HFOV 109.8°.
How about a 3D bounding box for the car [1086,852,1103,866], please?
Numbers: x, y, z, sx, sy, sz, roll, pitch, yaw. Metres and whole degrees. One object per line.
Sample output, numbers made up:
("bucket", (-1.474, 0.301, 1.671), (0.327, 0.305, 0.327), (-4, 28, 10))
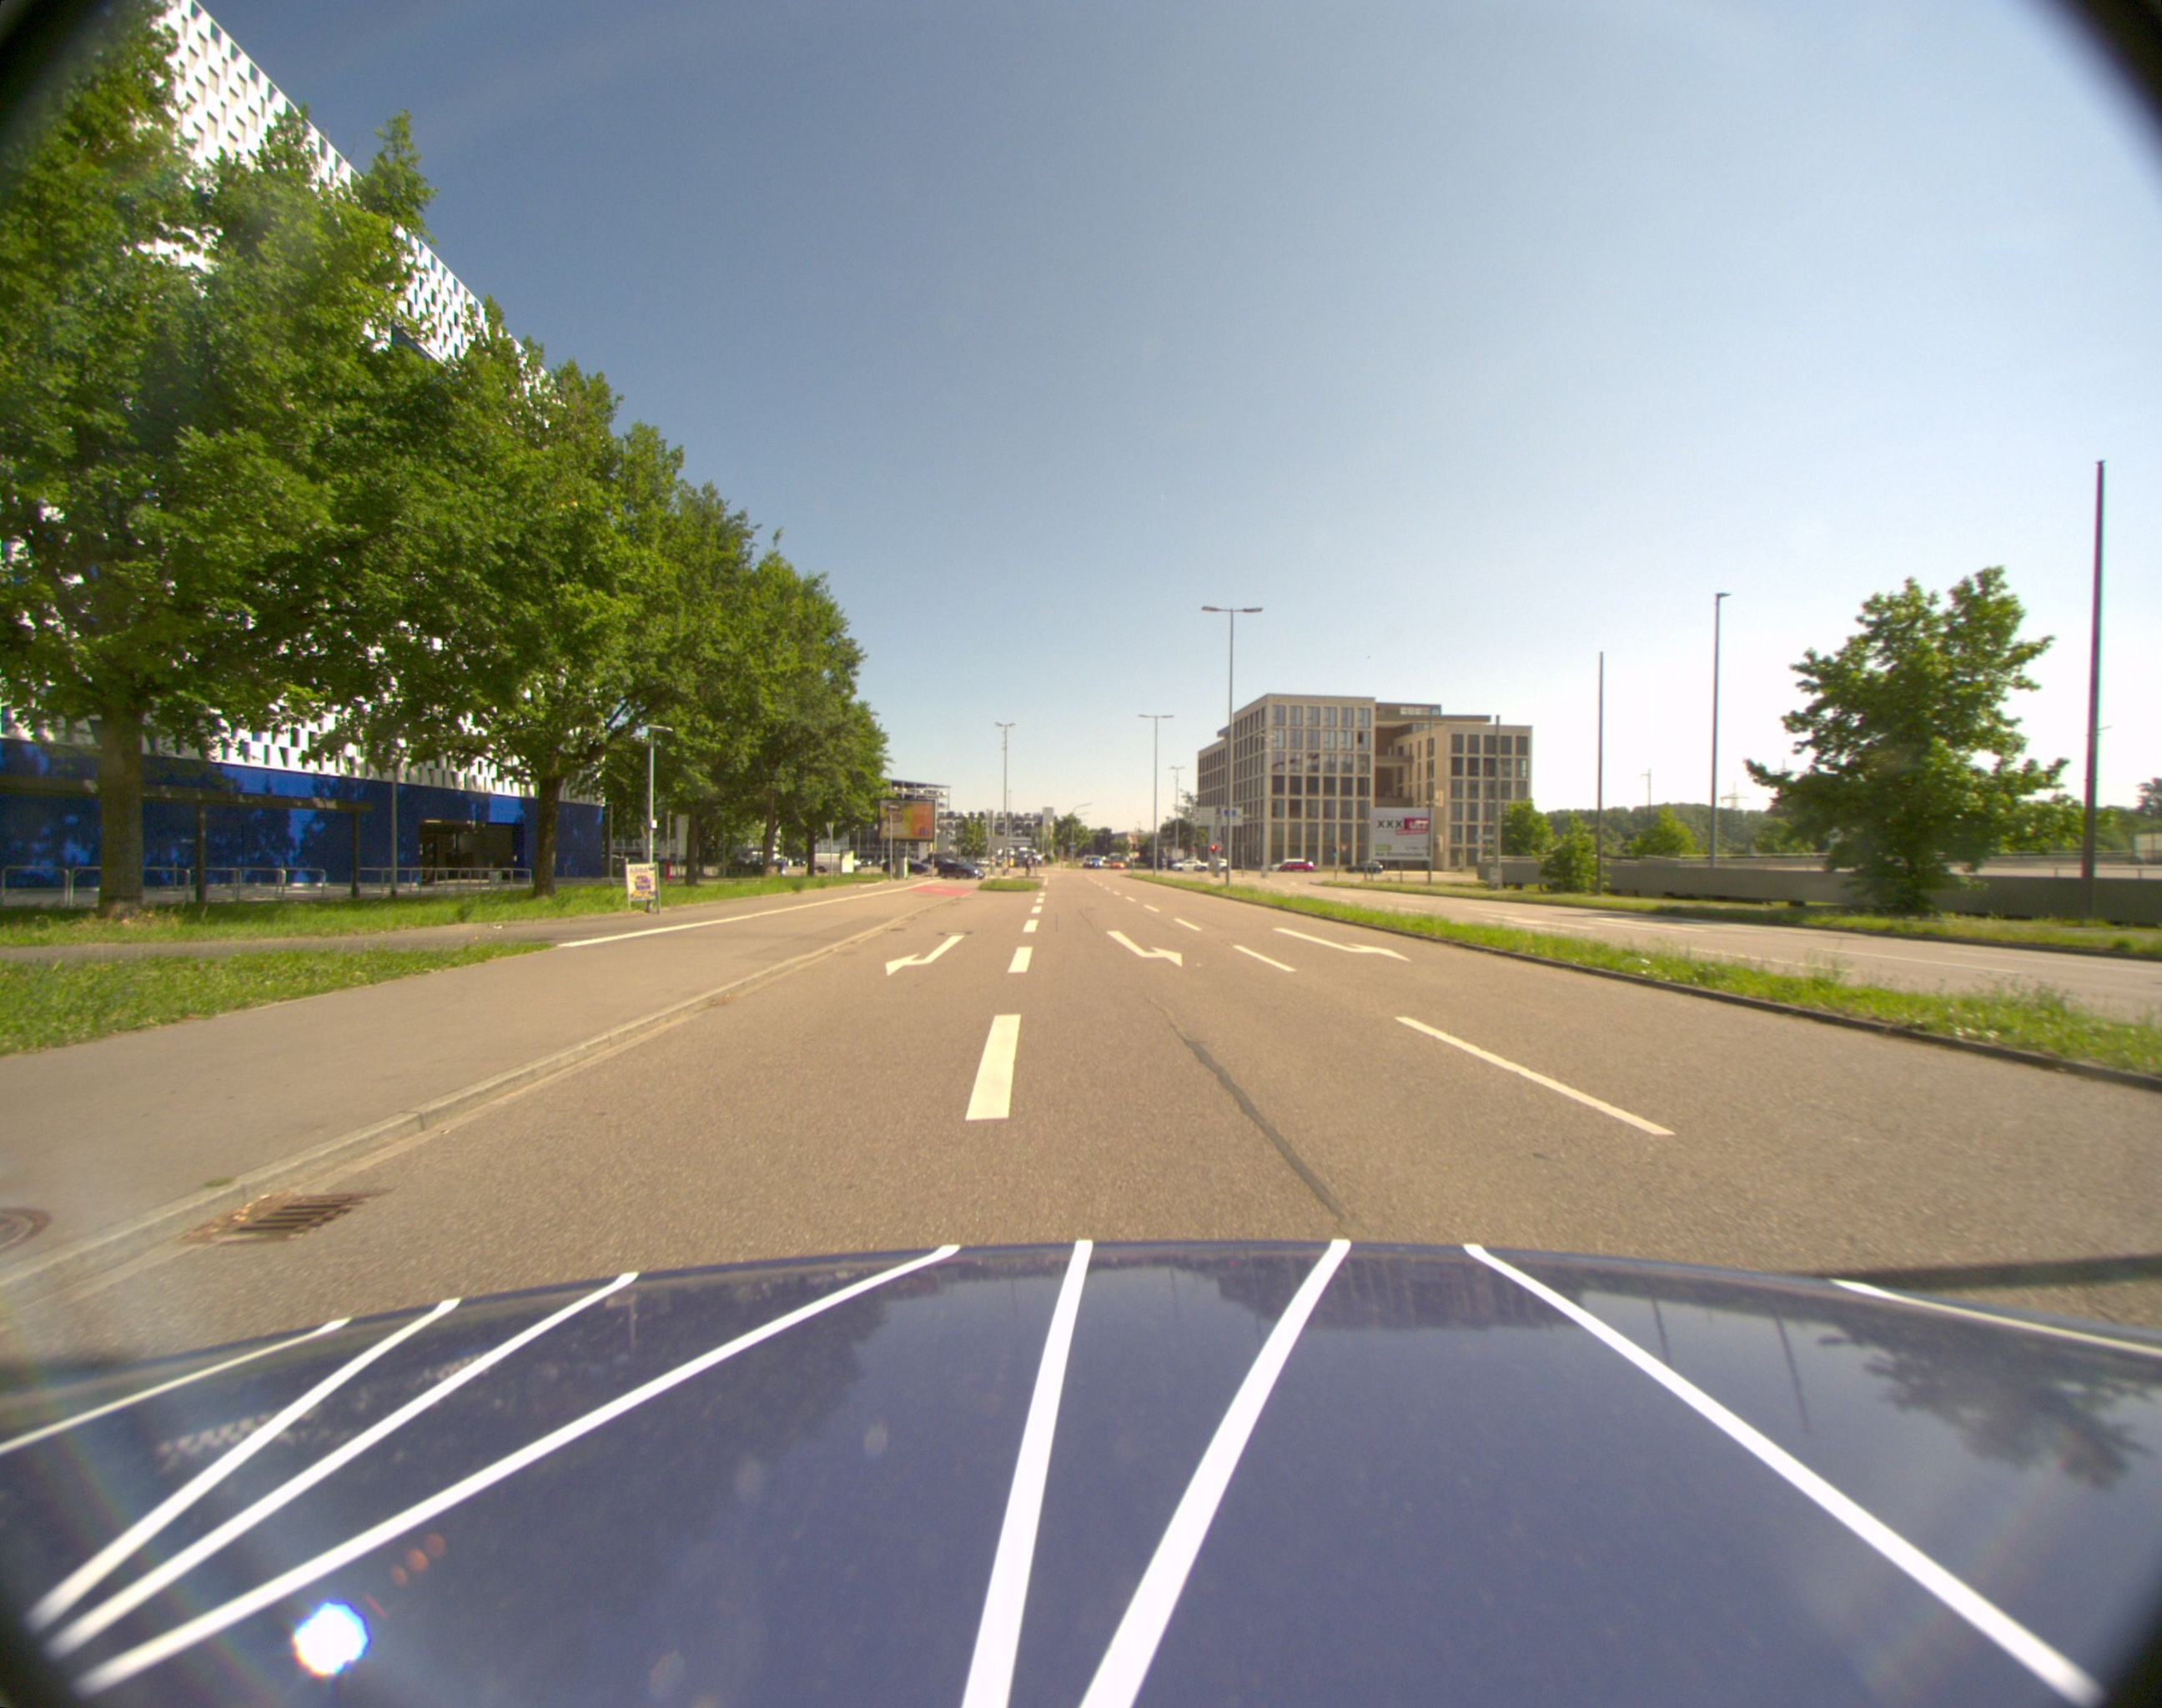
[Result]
("car", (2.028, 0.694, 109.263), (2.185, 1.898, 4.732), (0, 0, 4))

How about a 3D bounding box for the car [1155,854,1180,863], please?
("car", (15.368, 0.816, 135.070), (3.992, 1.605, 2.002), (1, 0, 16))

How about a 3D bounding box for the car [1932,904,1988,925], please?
("car", (44.211, 3.023, 38.216), (1.943, 0.970, 0.909), (0, 2, -7))

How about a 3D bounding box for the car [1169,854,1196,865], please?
("car", (16.634, 0.888, 124.237), (3.992, 1.816, 2.002), (1, 0, 16))

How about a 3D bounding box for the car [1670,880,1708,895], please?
("car", (41.948, 2.325, 52.424), (1.943, 0.970, 0.886), (0, 2, -6))

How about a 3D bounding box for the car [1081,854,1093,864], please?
("car", (0.909, 0.765, 116.476), (1.667, 1.548, 3.853), (0, 1, -2))

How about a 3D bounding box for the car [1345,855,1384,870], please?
("car", (36.194, 1.073, 97.034), (4.242, 1.878, 1.834), (0, 1, -4))

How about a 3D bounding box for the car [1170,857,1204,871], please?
("car", (13.203, 1.254, 94.462), (3.766, 1.703, 1.832), (0, 1, -10))

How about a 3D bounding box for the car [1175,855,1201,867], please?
("car", (16.987, 1.136, 121.057), (3.993, 1.728, 2.001), (1, 2, 10))

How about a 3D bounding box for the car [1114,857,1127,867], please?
("car", (5.684, 1.099, 109.498), (1.738, 1.356, 3.867), (0, 0, 4))

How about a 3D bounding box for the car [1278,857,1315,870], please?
("car", (26.447, 1.151, 93.386), (4.119, 1.518, 1.530), (0, 0, -7))

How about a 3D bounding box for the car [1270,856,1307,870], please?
("car", (26.451, 1.173, 96.876), (4.230, 1.701, 1.903), (0, 0, -7))

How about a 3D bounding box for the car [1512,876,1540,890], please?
("car", (30.460, 1.969, 52.007), (1.506, 0.877, 0.791), (0, 2, -7))

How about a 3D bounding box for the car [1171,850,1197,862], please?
("car", (17.394, 0.379, 127.917), (3.992, 2.002, 2.002), (1, 1, 16))

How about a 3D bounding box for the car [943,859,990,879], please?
("car", (-9.669, 1.261, 63.968), (1.775, 1.456, 4.225), (-2, 3, -45))

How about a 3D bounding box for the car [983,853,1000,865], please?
("car", (-12.127, 0.663, 103.133), (1.887, 1.452, 3.999), (0, 1, 1))

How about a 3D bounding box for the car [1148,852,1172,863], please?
("car", (14.272, 0.582, 137.830), (3.992, 2.002, 2.002), (1, 1, 16))

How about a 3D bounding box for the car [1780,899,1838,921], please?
("car", (36.261, 2.769, 37.844), (1.943, 0.970, 1.070), (0, 1, -7))

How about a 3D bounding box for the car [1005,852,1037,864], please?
("car", (-8.501, 0.537, 107.913), (4.480, 1.578, 1.979), (0, 0, -3))

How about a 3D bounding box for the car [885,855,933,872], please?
("car", (-17.178, 0.948, 76.082), (4.503, 1.618, 1.714), (-1, 2, -6))

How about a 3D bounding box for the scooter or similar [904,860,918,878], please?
("scooter or similar", (-11.664, 1.018, 52.144), (0.402, 1.160, 1.185), (0, 2, 13))

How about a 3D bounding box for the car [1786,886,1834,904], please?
("car", (43.702, 2.466, 45.587), (1.943, 0.970, 1.070), (0, 1, -7))

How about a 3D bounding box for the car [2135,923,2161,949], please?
("car", (45.184, 3.390, 31.409), (1.943, 0.970, 1.070), (0, 1, -7))

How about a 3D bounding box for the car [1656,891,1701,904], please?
("car", (35.744, 2.589, 45.435), (2.087, 0.729, 0.906), (0, 1, -7))

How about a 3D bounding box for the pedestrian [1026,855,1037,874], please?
("pedestrian", (-4.519, 0.936, 69.296), (0.705, 1.769, 0.961), (1, 1, 20))

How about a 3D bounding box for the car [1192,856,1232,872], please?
("car", (15.891, 1.195, 92.330), (4.313, 1.827, 2.024), (0, 1, -12))

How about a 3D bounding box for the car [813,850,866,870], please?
("car", (-25.106, 0.638, 79.094), (4.999, 1.996, 1.739), (0, 2, -6))

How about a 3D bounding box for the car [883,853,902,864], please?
("car", (-25.193, 0.658, 101.776), (2.005, 1.413, 4.111), (-1, 0, -8))

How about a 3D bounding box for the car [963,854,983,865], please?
("car", (-14.562, 0.680, 102.773), (1.998, 1.452, 4.000), (0, 0, 1))

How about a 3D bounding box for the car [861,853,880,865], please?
("car", (-27.944, 0.613, 100.939), (1.888, 1.537, 3.886), (0, 0, -7))

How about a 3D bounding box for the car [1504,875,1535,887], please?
("car", (34.846, 2.163, 60.363), (1.943, 0.969, 0.890), (0, -3, -7))
